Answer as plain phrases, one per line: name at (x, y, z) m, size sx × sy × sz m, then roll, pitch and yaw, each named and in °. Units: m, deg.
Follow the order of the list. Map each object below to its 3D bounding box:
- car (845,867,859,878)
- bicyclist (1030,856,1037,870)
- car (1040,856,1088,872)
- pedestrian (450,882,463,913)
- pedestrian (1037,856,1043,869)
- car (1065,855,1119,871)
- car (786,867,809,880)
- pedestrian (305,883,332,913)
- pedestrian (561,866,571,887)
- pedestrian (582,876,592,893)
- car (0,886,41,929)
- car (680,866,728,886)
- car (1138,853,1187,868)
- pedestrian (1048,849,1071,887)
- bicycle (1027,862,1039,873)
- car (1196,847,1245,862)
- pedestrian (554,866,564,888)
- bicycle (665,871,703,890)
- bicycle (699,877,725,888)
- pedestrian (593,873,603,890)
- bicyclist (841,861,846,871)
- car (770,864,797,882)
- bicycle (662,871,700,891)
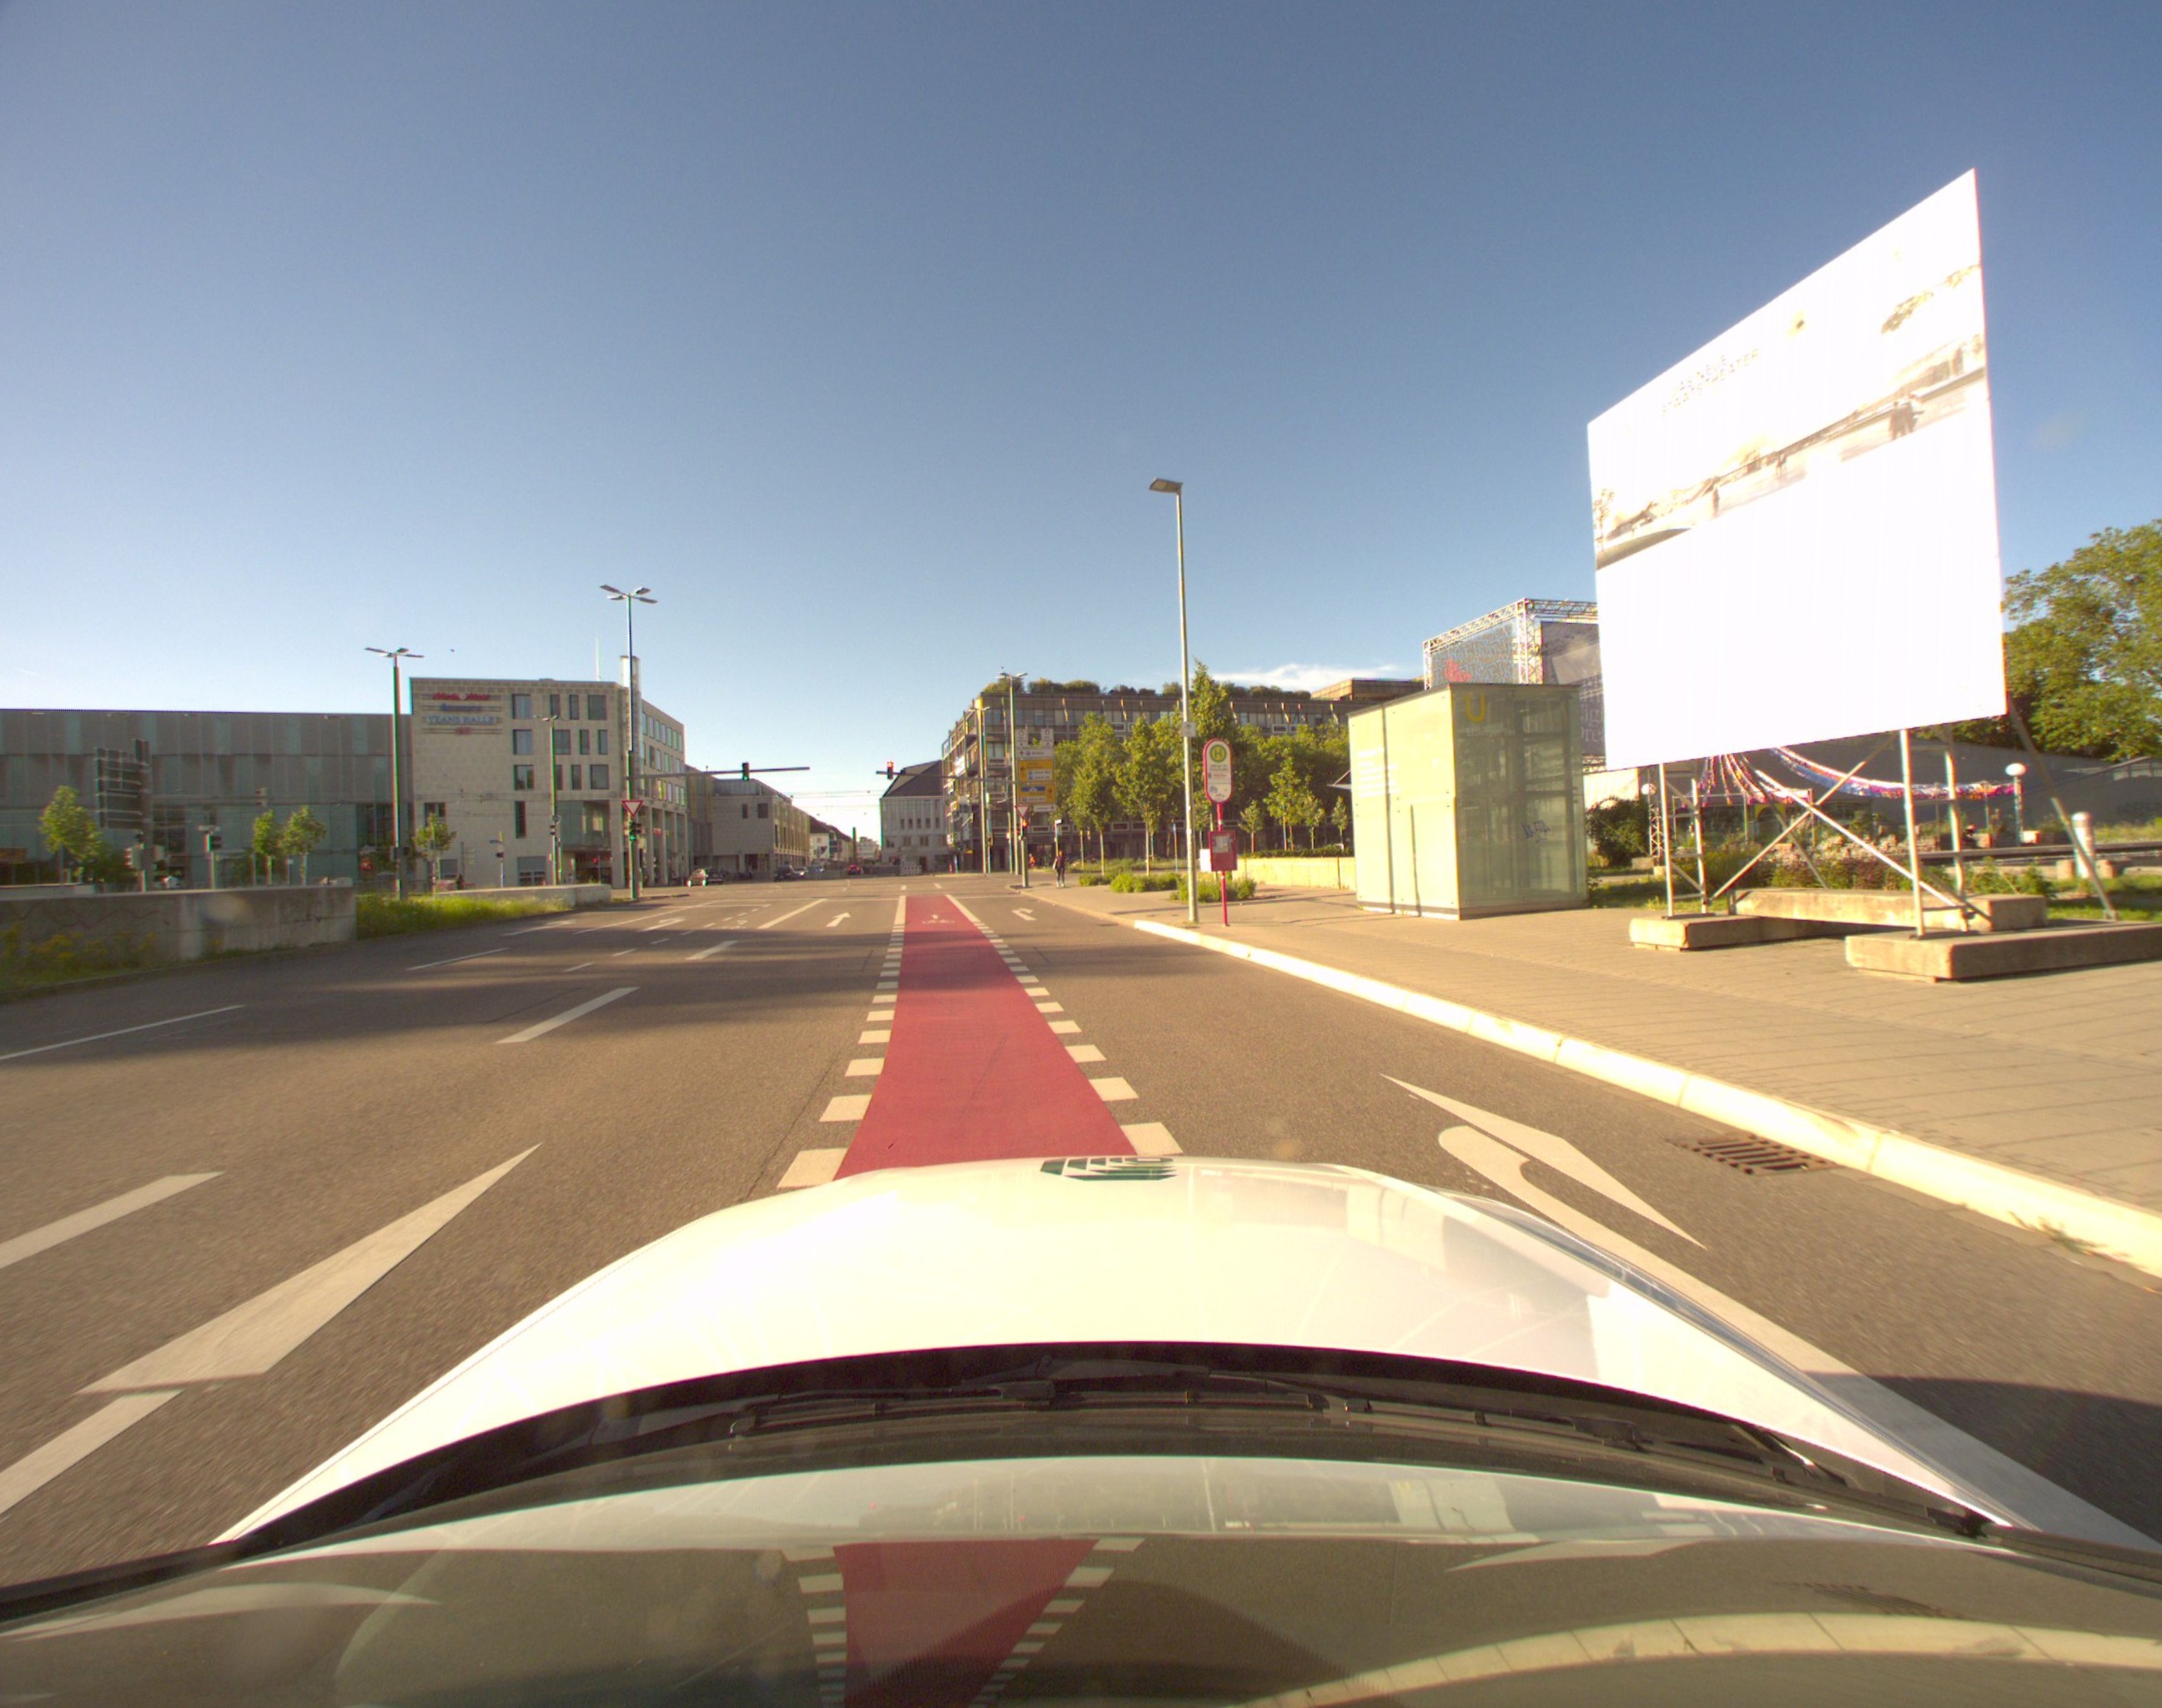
car at (-37.193, 2.973, 132.378) m, size 1.999 × 1.552 × 3.976 m, roll -2°, pitch 0°, yaw -18°
bicyclist at (-4.473, 0.831, 76.817) m, size 0.508 × 1.338 × 0.451 m, roll -2°, pitch 0°, yaw -9°
car at (-1.780, 1.015, 84.175) m, size 4.640 × 1.356 × 1.990 m, roll -2°, pitch 1°, yaw -16°
pedestrian at (-42.324, 2.933, 55.184) m, size 0.517 × 2.013 × 0.620 m, roll -2°, pitch 0°, yaw -25°
pedestrian at (-4.845, 0.956, 95.385) m, size 0.621 × 1.519 × 0.653 m, roll -2°, pitch 0°, yaw -3°
car at (1.027, 0.827, 76.995) m, size 4.640 × 1.356 × 1.990 m, roll -2°, pitch 1°, yaw -16°
car at (-34.611, 2.379, 99.554) m, size 1.995 × 1.356 × 4.628 m, roll -2°, pitch 1°, yaw -11°
pedestrian at (-39.934, 2.297, 42.666) m, size 0.724 × 1.502 × 0.797 m, roll -2°, pitch 0°, yaw -21°
pedestrian at (-50.543, 2.231, 79.898) m, size 0.625 × 2.013 × 0.512 m, roll -2°, pitch 0°, yaw -20°
pedestrian at (-48.010, 2.998, 79.124) m, size 0.623 × 1.608 × 0.651 m, roll -2°, pitch 0°, yaw -13°
car at (-48.691, 2.413, 34.978) m, size 4.655 × 1.810 × 1.859 m, roll -3°, pitch -2°, yaw -20°
car at (-31.965, 1.867, 69.004) m, size 3.741 × 1.564 × 1.793 m, roll -2°, pitch 0°, yaw 29°
car at (8.417, 0.682, 83.985) m, size 4.640 × 1.356 × 1.990 m, roll -2°, pitch 1°, yaw -16°
pedestrian at (-0.995, 0.644, 38.091) m, size 0.816 × 1.748 × 1.045 m, roll -3°, pitch 0°, yaw 10°
bicycle at (-4.507, 1.270, 76.800) m, size 1.076 × 0.971 × 0.456 m, roll -2°, pitch 0°, yaw -10°
car at (14.609, 0.043, 85.146) m, size 4.640 × 1.356 × 1.990 m, roll -2°, pitch 1°, yaw -16°
pedestrian at (-50.675, 2.230, 79.029) m, size 0.625 × 2.013 × 0.512 m, roll -2°, pitch 0°, yaw -20°
bicycle at (-44.883, 2.998, 92.016) m, size 3.628 × 2.013 × 1.081 m, roll -3°, pitch 0°, yaw -16°
bicycle at (-49.624, 3.816, 109.516) m, size 3.057 × 1.400 × 0.898 m, roll -3°, pitch 0°, yaw -16°
pedestrian at (-47.025, 2.681, 79.331) m, size 0.623 × 1.608 × 0.651 m, roll -2°, pitch 0°, yaw -13°
bicyclist at (-35.300, 1.739, 121.018) m, size 0.747 × 1.461 × 0.763 m, roll -2°, pitch 0°, yaw -14°
car at (-31.459, 1.979, 86.333) m, size 1.995 × 1.742 × 4.627 m, roll -2°, pitch 1°, yaw -12°
bicycle at (-44.573, 3.042, 90.719) m, size 3.633 × 2.013 × 1.079 m, roll -3°, pitch 0°, yaw -20°
